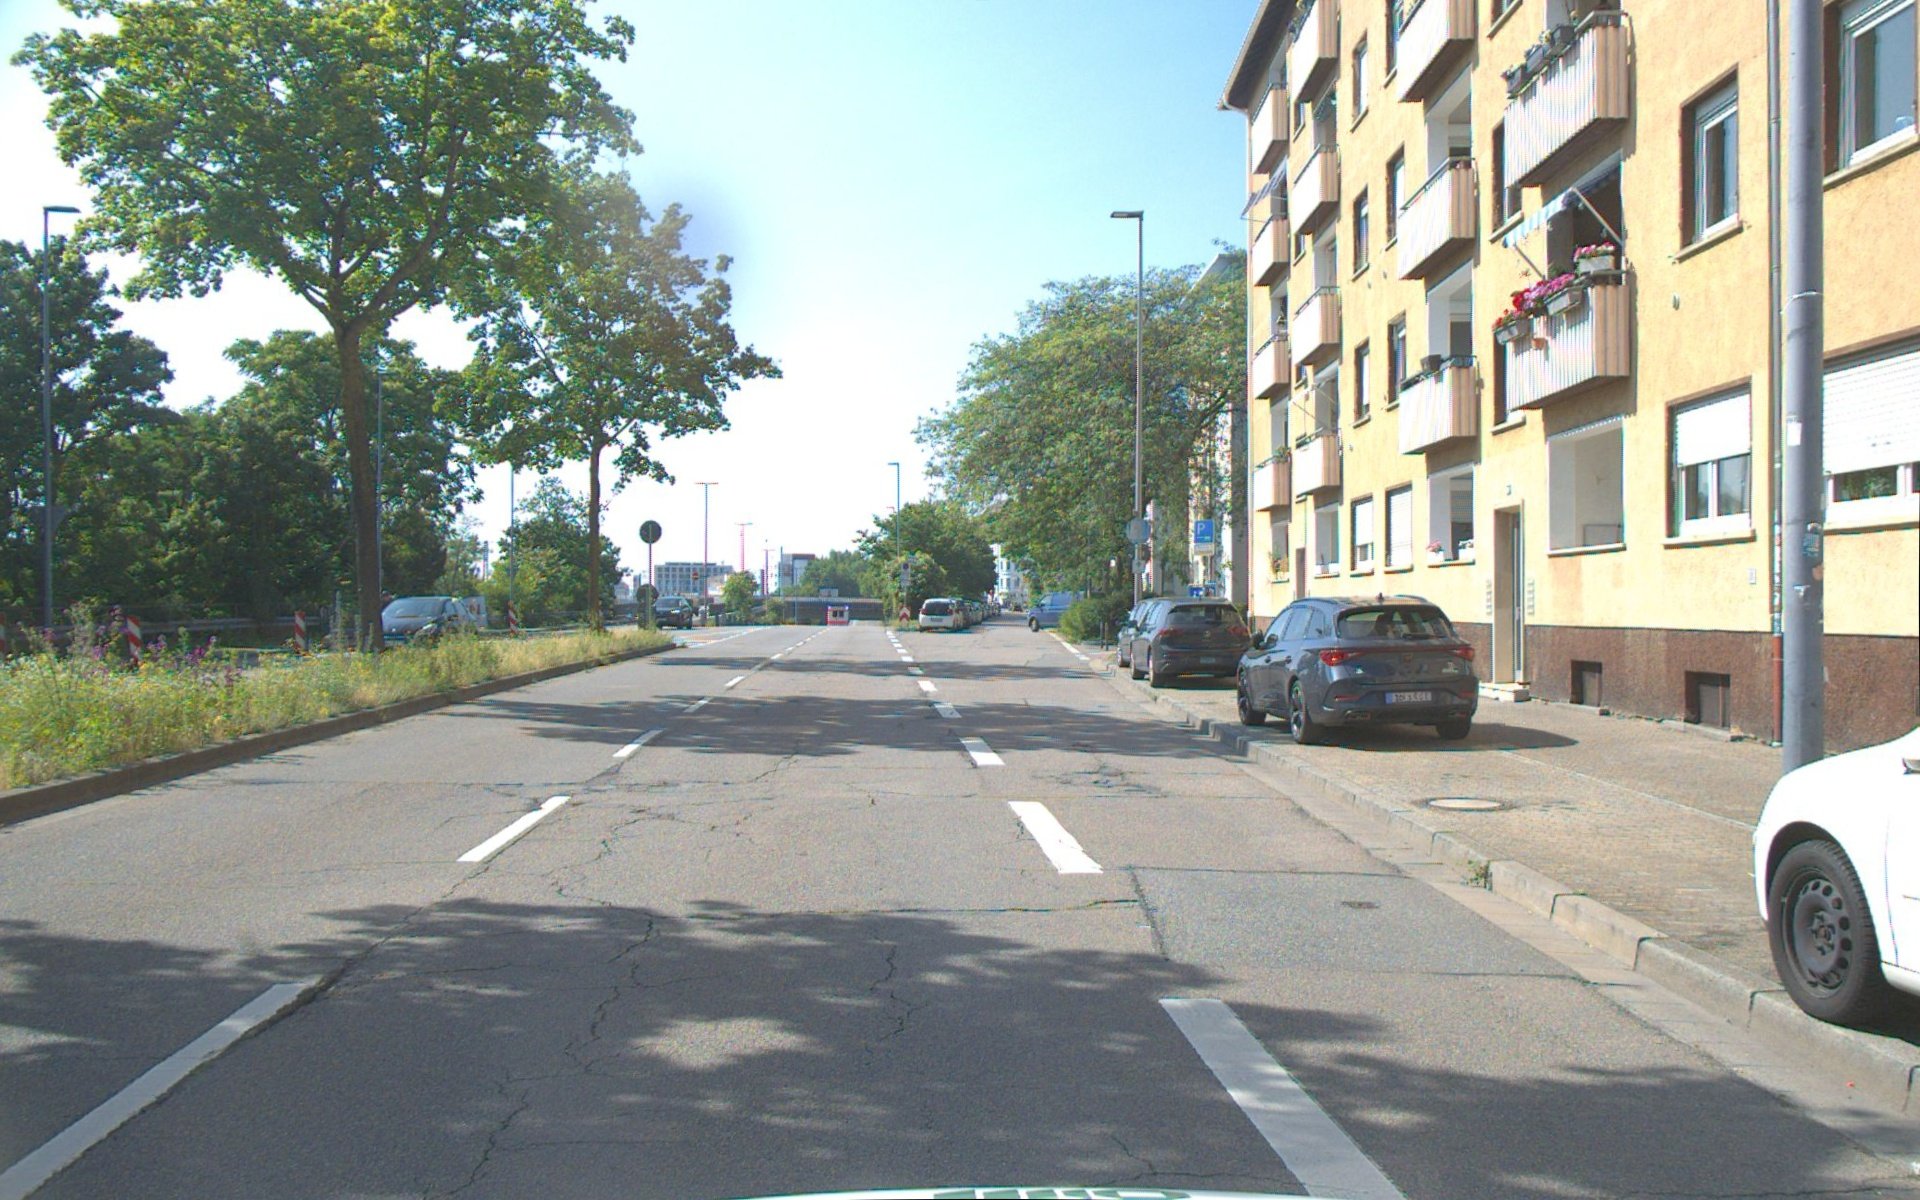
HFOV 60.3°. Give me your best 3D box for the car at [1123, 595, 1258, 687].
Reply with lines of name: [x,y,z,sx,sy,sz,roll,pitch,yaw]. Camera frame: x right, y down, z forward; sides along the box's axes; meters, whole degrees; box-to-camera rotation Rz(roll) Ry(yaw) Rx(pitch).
car: [3.937,0.659,28.861,1.676,1.487,4.254,0,0,-1]

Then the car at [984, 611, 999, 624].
car: [4.279,2.352,223.139,1.952,1.686,4.000,1,-1,1]

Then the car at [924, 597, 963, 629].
car: [-0.770,0.616,79.952,1.685,1.532,4.133,0,0,2]

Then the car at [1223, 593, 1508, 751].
car: [4.169,0.677,17.799,1.764,1.463,4.587,0,0,-2]

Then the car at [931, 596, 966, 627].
car: [-0.573,0.576,85.577,1.735,1.607,4.186,0,0,0]

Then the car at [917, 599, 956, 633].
car: [-1.033,0.720,75.258,1.586,1.532,3.462,0,0,2]

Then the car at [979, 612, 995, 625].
car: [3.514,2.394,213.352,1.952,1.686,4.000,1,-1,1]

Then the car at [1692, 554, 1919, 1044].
car: [3.901,0.617,4.565,1.722,1.532,4.124,0,0,-4]

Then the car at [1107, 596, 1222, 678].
car: [4.129,0.708,33.931,1.669,1.540,4.090,-1,0,-3]

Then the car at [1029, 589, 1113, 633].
car: [5.279,0.518,79.249,1.868,1.955,3.956,3,0,-37]

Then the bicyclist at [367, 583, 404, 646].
bicyclist: [-17.103,0.421,49.276,0.682,1.864,1.017,0,0,5]

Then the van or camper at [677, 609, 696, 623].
van or camper: [-27.161,1.613,164.351,1.438,1.373,4.626,1,0,-4]

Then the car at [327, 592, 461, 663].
car: [-12.629,0.587,37.144,1.728,1.500,4.083,0,0,-2]

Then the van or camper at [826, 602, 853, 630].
van or camper: [-12.355,1.633,169.535,2.249,2.838,5.571,1,-1,1]

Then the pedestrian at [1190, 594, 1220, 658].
pedestrian: [6.460,0.679,43.632,0.641,1.637,0.824,-2,0,2]

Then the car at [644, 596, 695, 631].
car: [-14.892,0.682,85.085,1.953,1.764,4.727,1,0,-2]

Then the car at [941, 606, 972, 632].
car: [-0.191,1.131,101.191,1.629,1.499,3.790,3,0,2]
